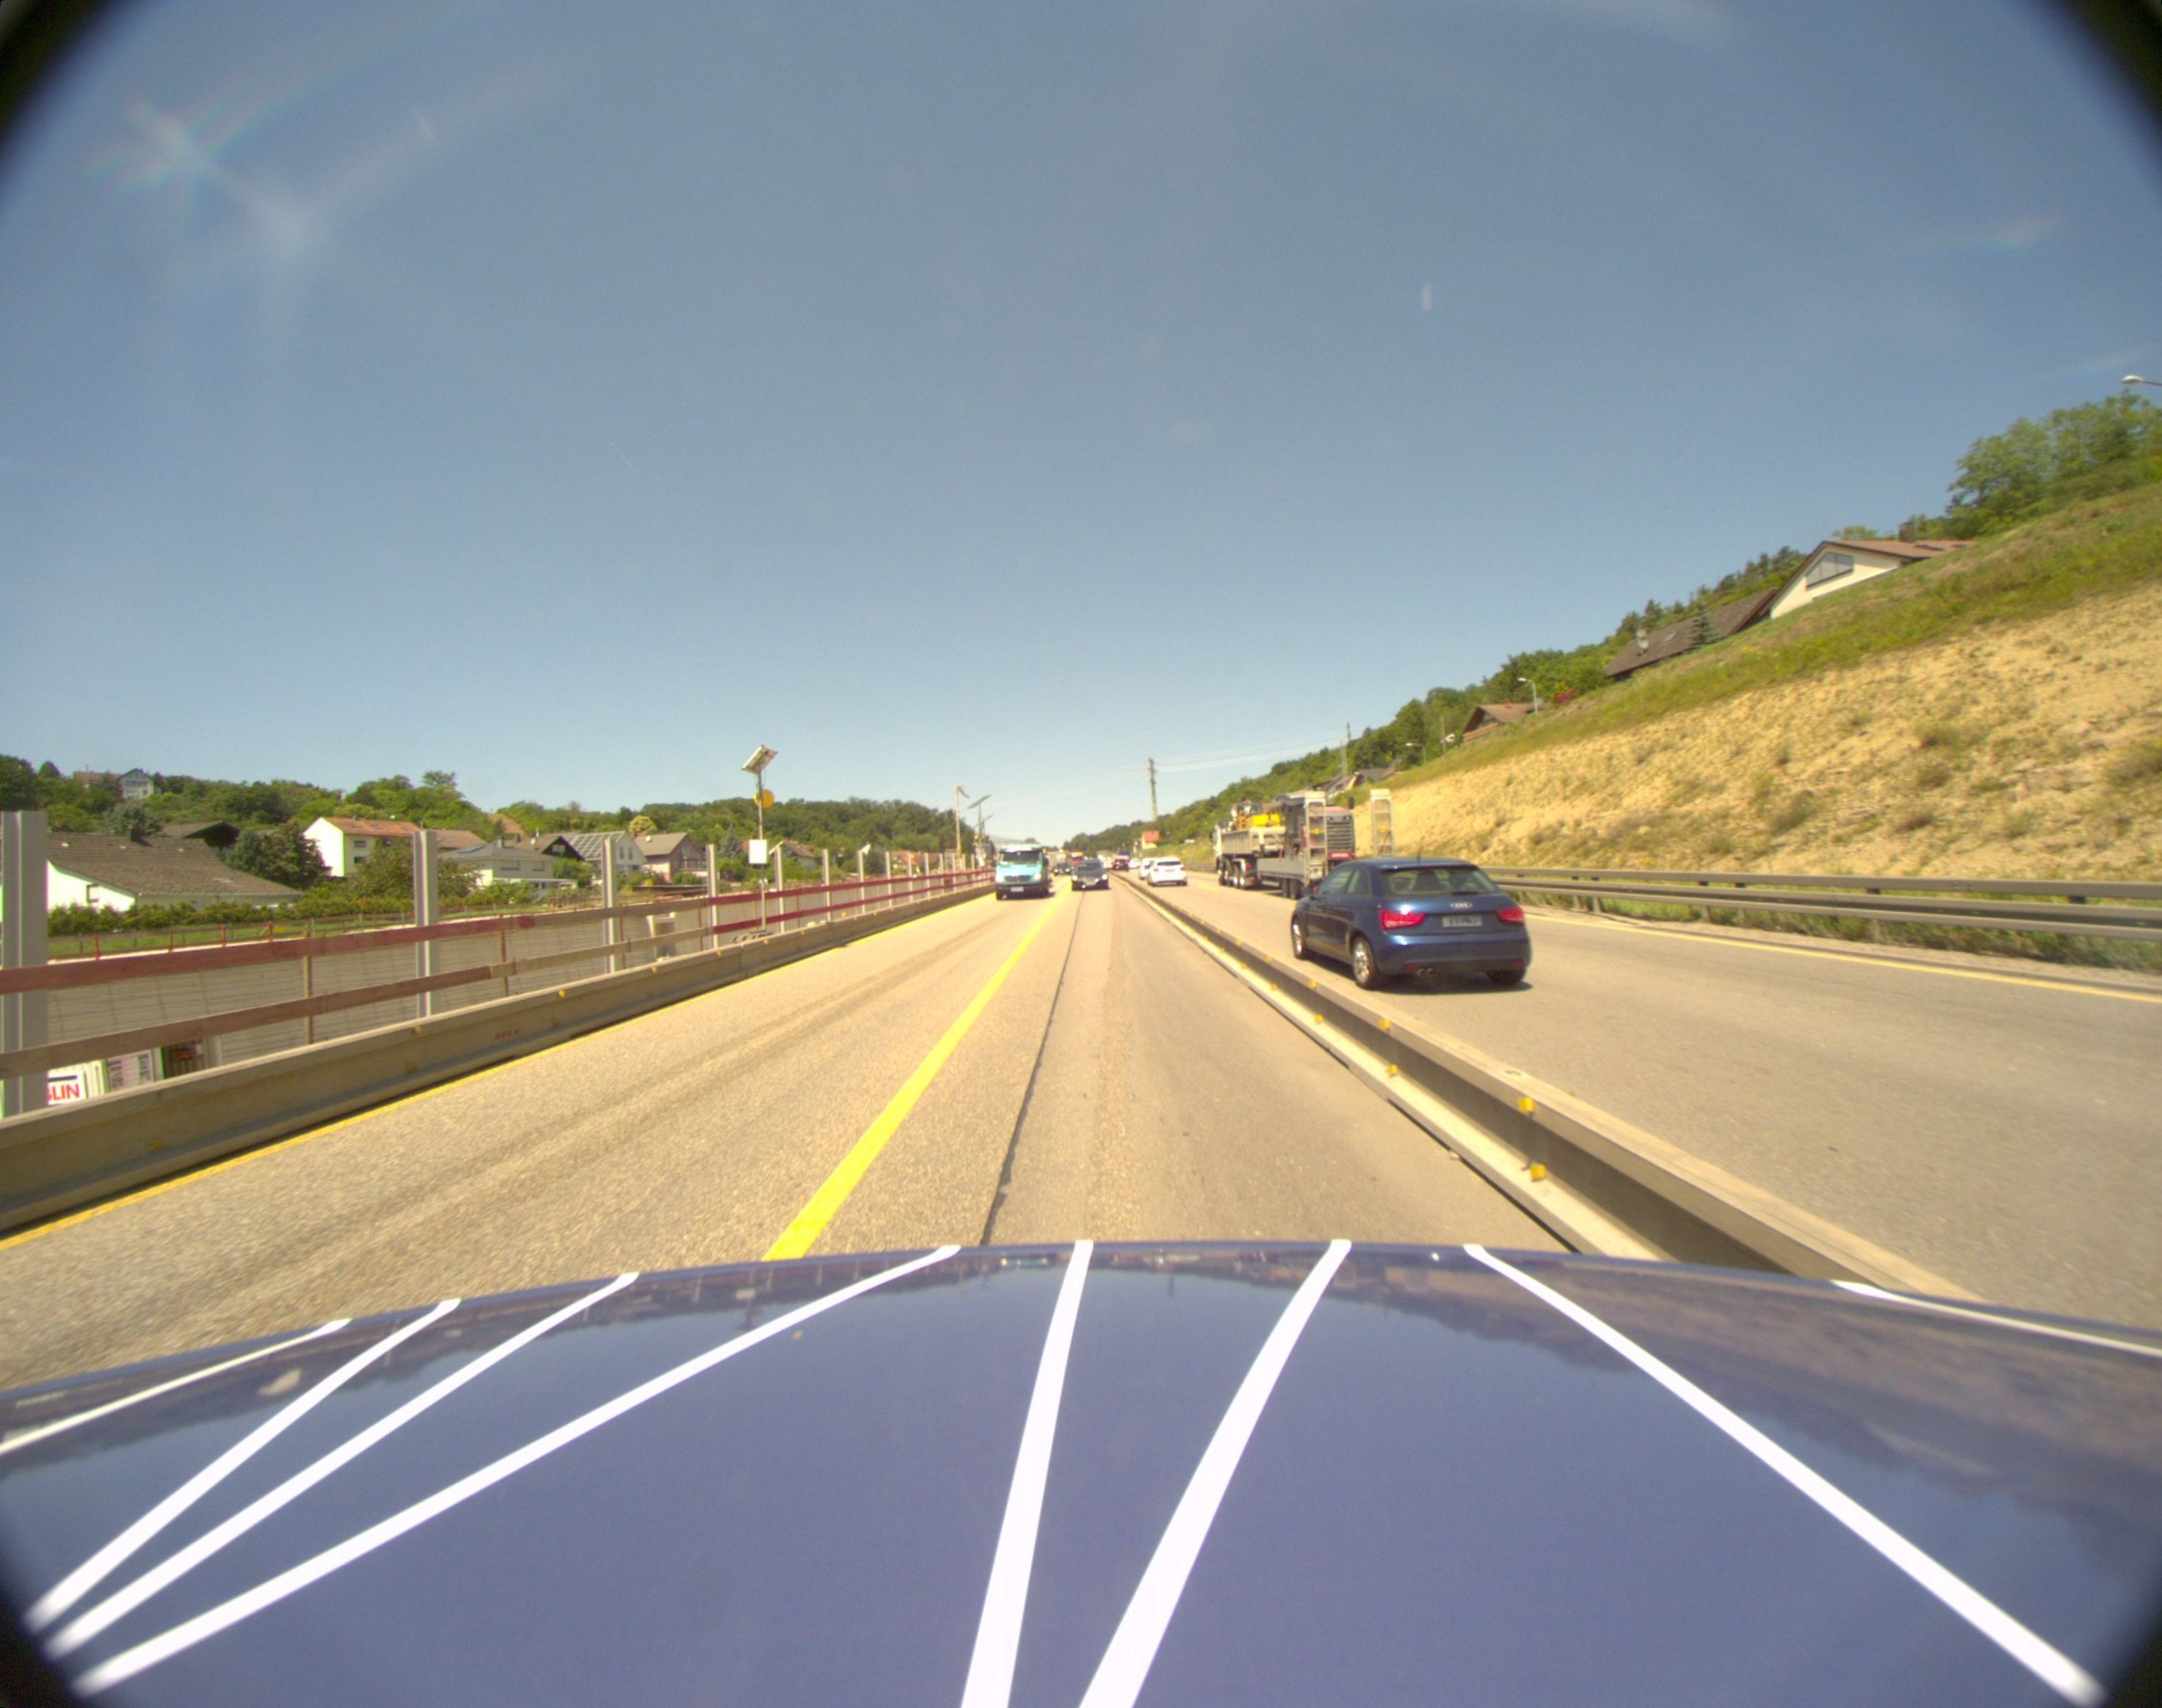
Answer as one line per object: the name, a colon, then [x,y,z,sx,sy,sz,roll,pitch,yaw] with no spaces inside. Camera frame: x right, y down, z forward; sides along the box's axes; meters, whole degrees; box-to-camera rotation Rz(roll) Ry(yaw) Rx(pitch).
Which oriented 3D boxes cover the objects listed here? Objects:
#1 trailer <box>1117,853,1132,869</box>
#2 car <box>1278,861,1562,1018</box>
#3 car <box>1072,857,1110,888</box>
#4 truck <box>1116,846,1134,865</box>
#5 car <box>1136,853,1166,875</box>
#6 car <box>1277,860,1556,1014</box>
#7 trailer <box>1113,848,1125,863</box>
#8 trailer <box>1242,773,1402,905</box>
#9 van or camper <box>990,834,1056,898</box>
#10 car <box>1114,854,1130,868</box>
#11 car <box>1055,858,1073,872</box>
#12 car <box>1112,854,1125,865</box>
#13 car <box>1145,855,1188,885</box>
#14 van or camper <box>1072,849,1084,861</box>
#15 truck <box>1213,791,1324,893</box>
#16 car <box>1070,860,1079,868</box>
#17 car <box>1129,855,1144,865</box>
trailer: [5.960,0.973,104.816,1.651,2.014,4.269,-2,0,-1]
car: [3.762,0.843,9.228,1.689,1.421,3.849,-2,0,0]
car: [0.519,0.894,38.400,1.746,1.420,4.001,-2,-1,1]
truck: [10.126,0.406,175.750,3.251,4.135,13.979,-2,0,1]
car: [4.724,0.674,51.909,1.689,1.421,3.292,-2,0,0]
car: [3.719,0.812,9.176,1.693,1.395,3.686,-2,0,0]
trailer: [11.072,0.522,223.147,2.817,4.261,14.036,-3,0,0]
trailer: [7.694,-0.411,25.800,2.593,3.616,9.078,-2,0,1]
van or camper: [-2.410,0.522,33.847,2.097,2.458,7.672,-3,-1,1]
car: [5.014,0.850,93.251,1.895,1.698,4.562,-2,0,2]
car: [-1.793,1.172,80.933,1.611,1.324,3.497,-3,-1,1]
car: [5.921,0.856,119.743,1.820,1.583,4.290,-3,0,0]
car: [4.370,0.790,39.257,1.689,1.421,4.122,-2,0,0]
van or camper: [-0.695,0.254,177.641,2.321,2.513,4.528,-4,-1,1]
truck: [7.816,-0.441,33.064,2.593,3.701,9.333,-2,0,1]
car: [-1.303,2.051,154.618,1.679,1.346,3.487,-4,-1,1]
car: [8.880,0.971,121.606,1.904,1.575,4.514,-3,0,0]
